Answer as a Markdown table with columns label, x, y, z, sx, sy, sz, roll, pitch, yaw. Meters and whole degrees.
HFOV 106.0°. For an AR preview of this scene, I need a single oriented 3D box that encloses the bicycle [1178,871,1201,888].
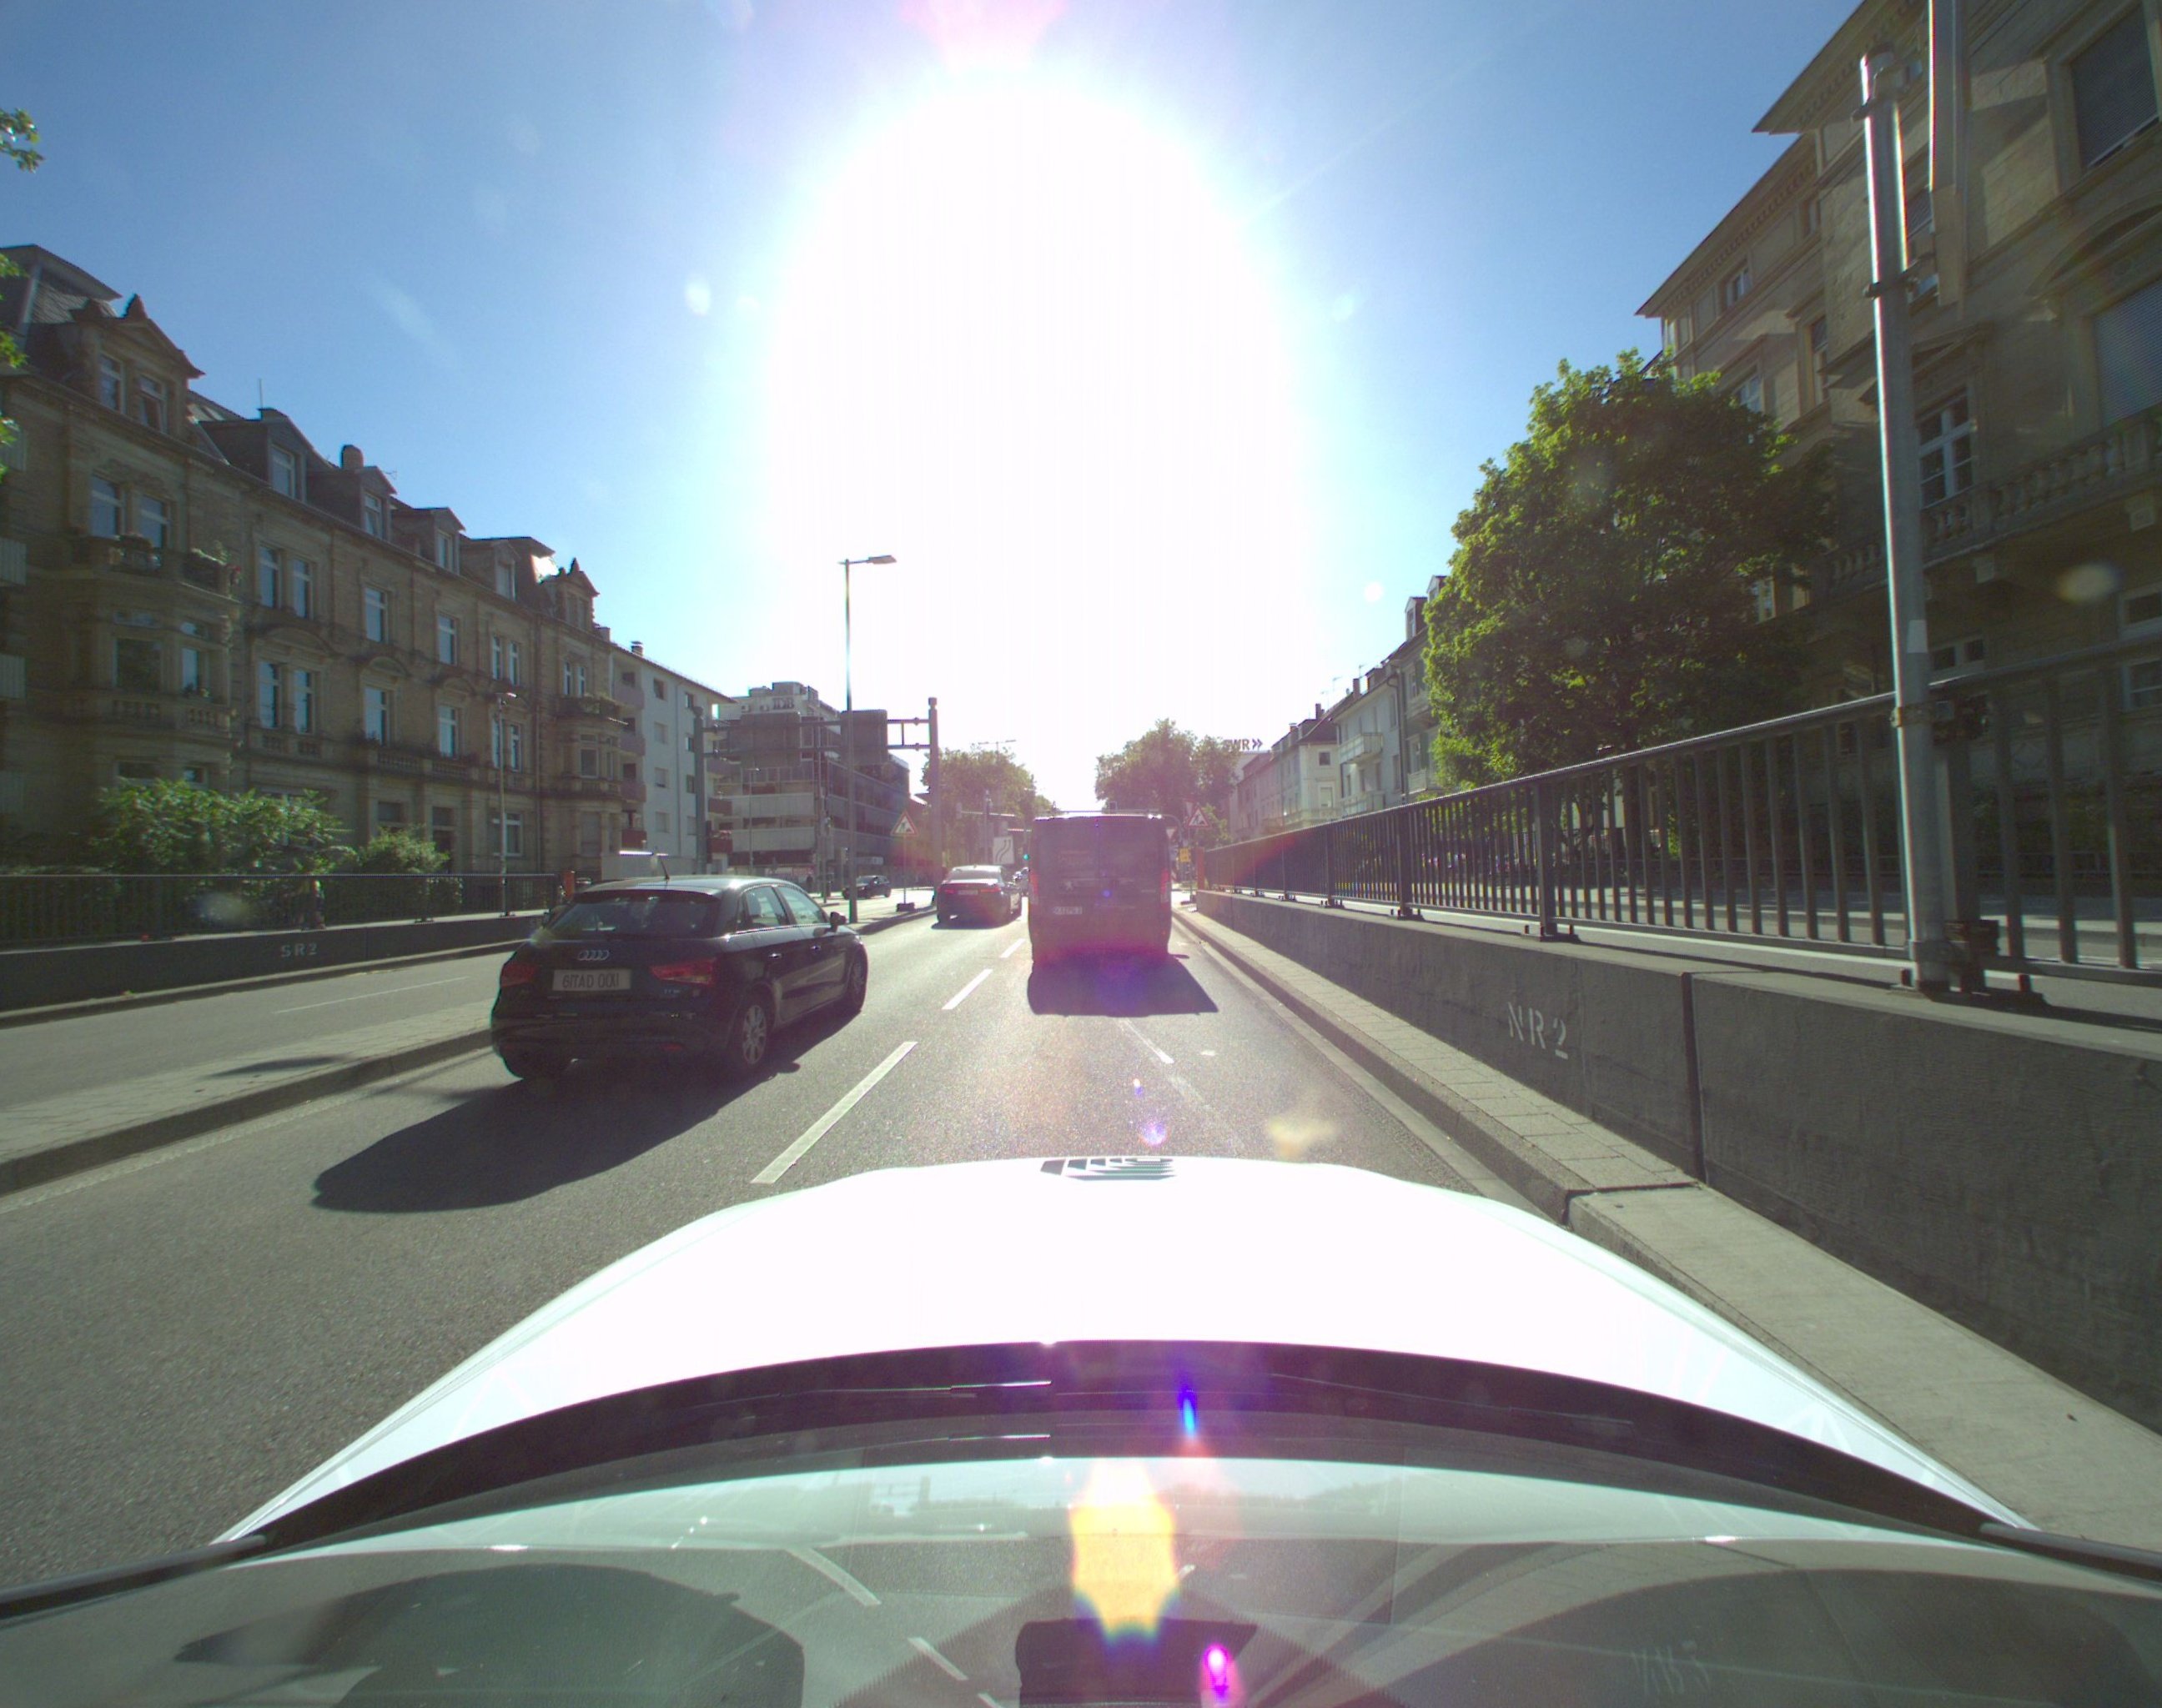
| label | x | y | z | sx | sy | sz | roll | pitch | yaw |
| --- | --- | --- | --- | --- | --- | --- | --- | --- | --- |
| bicycle | 7.682 | 1.808 | 57.846 | 1.560 | 1.118 | 0.570 | 0 | -1 | 1 |

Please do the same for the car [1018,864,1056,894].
| label | x | y | z | sx | sy | sz | roll | pitch | yaw |
| --- | --- | --- | --- | --- | --- | --- | --- | --- | --- |
| car | -2.170 | 1.226 | 41.198 | 1.613 | 1.403 | 3.853 | 0 | 0 | 1 |

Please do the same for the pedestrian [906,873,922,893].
| label | x | y | z | sx | sy | sz | roll | pitch | yaw |
| --- | --- | --- | --- | --- | --- | --- | --- | --- | --- |
| pedestrian | -16.537 | 2.855 | 80.793 | 1.327 | 1.931 | 1.026 | 0 | -1 | 1 |

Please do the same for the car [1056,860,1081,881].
| label | x | y | z | sx | sy | sz | roll | pitch | yaw |
| --- | --- | --- | --- | --- | --- | --- | --- | --- | --- |
| car | -0.893 | 1.190 | 59.636 | 1.683 | 1.483 | 3.319 | 0 | 0 | 1 |

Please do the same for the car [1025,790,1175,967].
| label | x | y | z | sx | sy | sz | roll | pitch | yaw |
| --- | --- | --- | --- | --- | --- | --- | --- | --- | --- |
| car | 0.319 | 0.363 | 13.200 | 2.022 | 2.402 | 3.974 | -1 | -1 | 1 |

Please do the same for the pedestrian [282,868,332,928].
| label | x | y | z | sx | sy | sz | roll | pitch | yaw |
| --- | --- | --- | --- | --- | --- | --- | --- | --- | --- |
| pedestrian | -22.441 | 1.258 | 23.632 | 0.633 | 1.706 | 0.834 | 0 | -1 | 1 |

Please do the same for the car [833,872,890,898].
| label | x | y | z | sx | sy | sz | roll | pitch | yaw |
| --- | --- | --- | --- | --- | --- | --- | --- | --- | --- |
| car | -13.655 | 1.908 | 50.939 | 1.924 | 1.555 | 3.934 | -1 | -1 | 10 |

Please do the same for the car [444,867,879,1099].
| label | x | y | z | sx | sy | sz | roll | pitch | yaw |
| --- | --- | --- | --- | --- | --- | --- | --- | --- | --- |
| car | -3.108 | 0.836 | 7.049 | 1.689 | 1.419 | 3.888 | 0 | -1 | 1 |

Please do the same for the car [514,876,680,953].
| label | x | y | z | sx | sy | sz | roll | pitch | yaw |
| --- | --- | --- | --- | --- | --- | --- | --- | --- | --- |
| car | -10.941 | 1.306 | 18.707 | 1.586 | 1.445 | 3.496 | -4 | -1 | 1 |

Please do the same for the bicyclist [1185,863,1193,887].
| label | x | y | z | sx | sy | sz | roll | pitch | yaw |
| --- | --- | --- | --- | --- | --- | --- | --- | --- | --- |
| bicyclist | 7.668 | 1.495 | 57.853 | 0.507 | 1.735 | 0.598 | 0 | -1 | 1 |

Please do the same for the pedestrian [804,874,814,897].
| label | x | y | z | sx | sy | sz | roll | pitch | yaw |
| --- | --- | --- | --- | --- | --- | --- | --- | --- | --- |
| pedestrian | -22.608 | 2.599 | 67.650 | 0.659 | 1.896 | 0.720 | 0 | -1 | -11 |

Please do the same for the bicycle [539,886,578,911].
| label | x | y | z | sx | sy | sz | roll | pitch | yaw |
| --- | --- | --- | --- | --- | --- | --- | --- | --- | --- |
| bicycle | -25.047 | 2.116 | 39.075 | 0.585 | 1.104 | 1.974 | 0 | -1 | 2 |

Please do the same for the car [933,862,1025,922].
| label | x | y | z | sx | sy | sz | roll | pitch | yaw |
| --- | --- | --- | --- | --- | --- | --- | --- | --- | --- |
| car | -2.673 | 0.956 | 22.407 | 1.802 | 1.439 | 5.003 | 0 | 0 | 1 |
